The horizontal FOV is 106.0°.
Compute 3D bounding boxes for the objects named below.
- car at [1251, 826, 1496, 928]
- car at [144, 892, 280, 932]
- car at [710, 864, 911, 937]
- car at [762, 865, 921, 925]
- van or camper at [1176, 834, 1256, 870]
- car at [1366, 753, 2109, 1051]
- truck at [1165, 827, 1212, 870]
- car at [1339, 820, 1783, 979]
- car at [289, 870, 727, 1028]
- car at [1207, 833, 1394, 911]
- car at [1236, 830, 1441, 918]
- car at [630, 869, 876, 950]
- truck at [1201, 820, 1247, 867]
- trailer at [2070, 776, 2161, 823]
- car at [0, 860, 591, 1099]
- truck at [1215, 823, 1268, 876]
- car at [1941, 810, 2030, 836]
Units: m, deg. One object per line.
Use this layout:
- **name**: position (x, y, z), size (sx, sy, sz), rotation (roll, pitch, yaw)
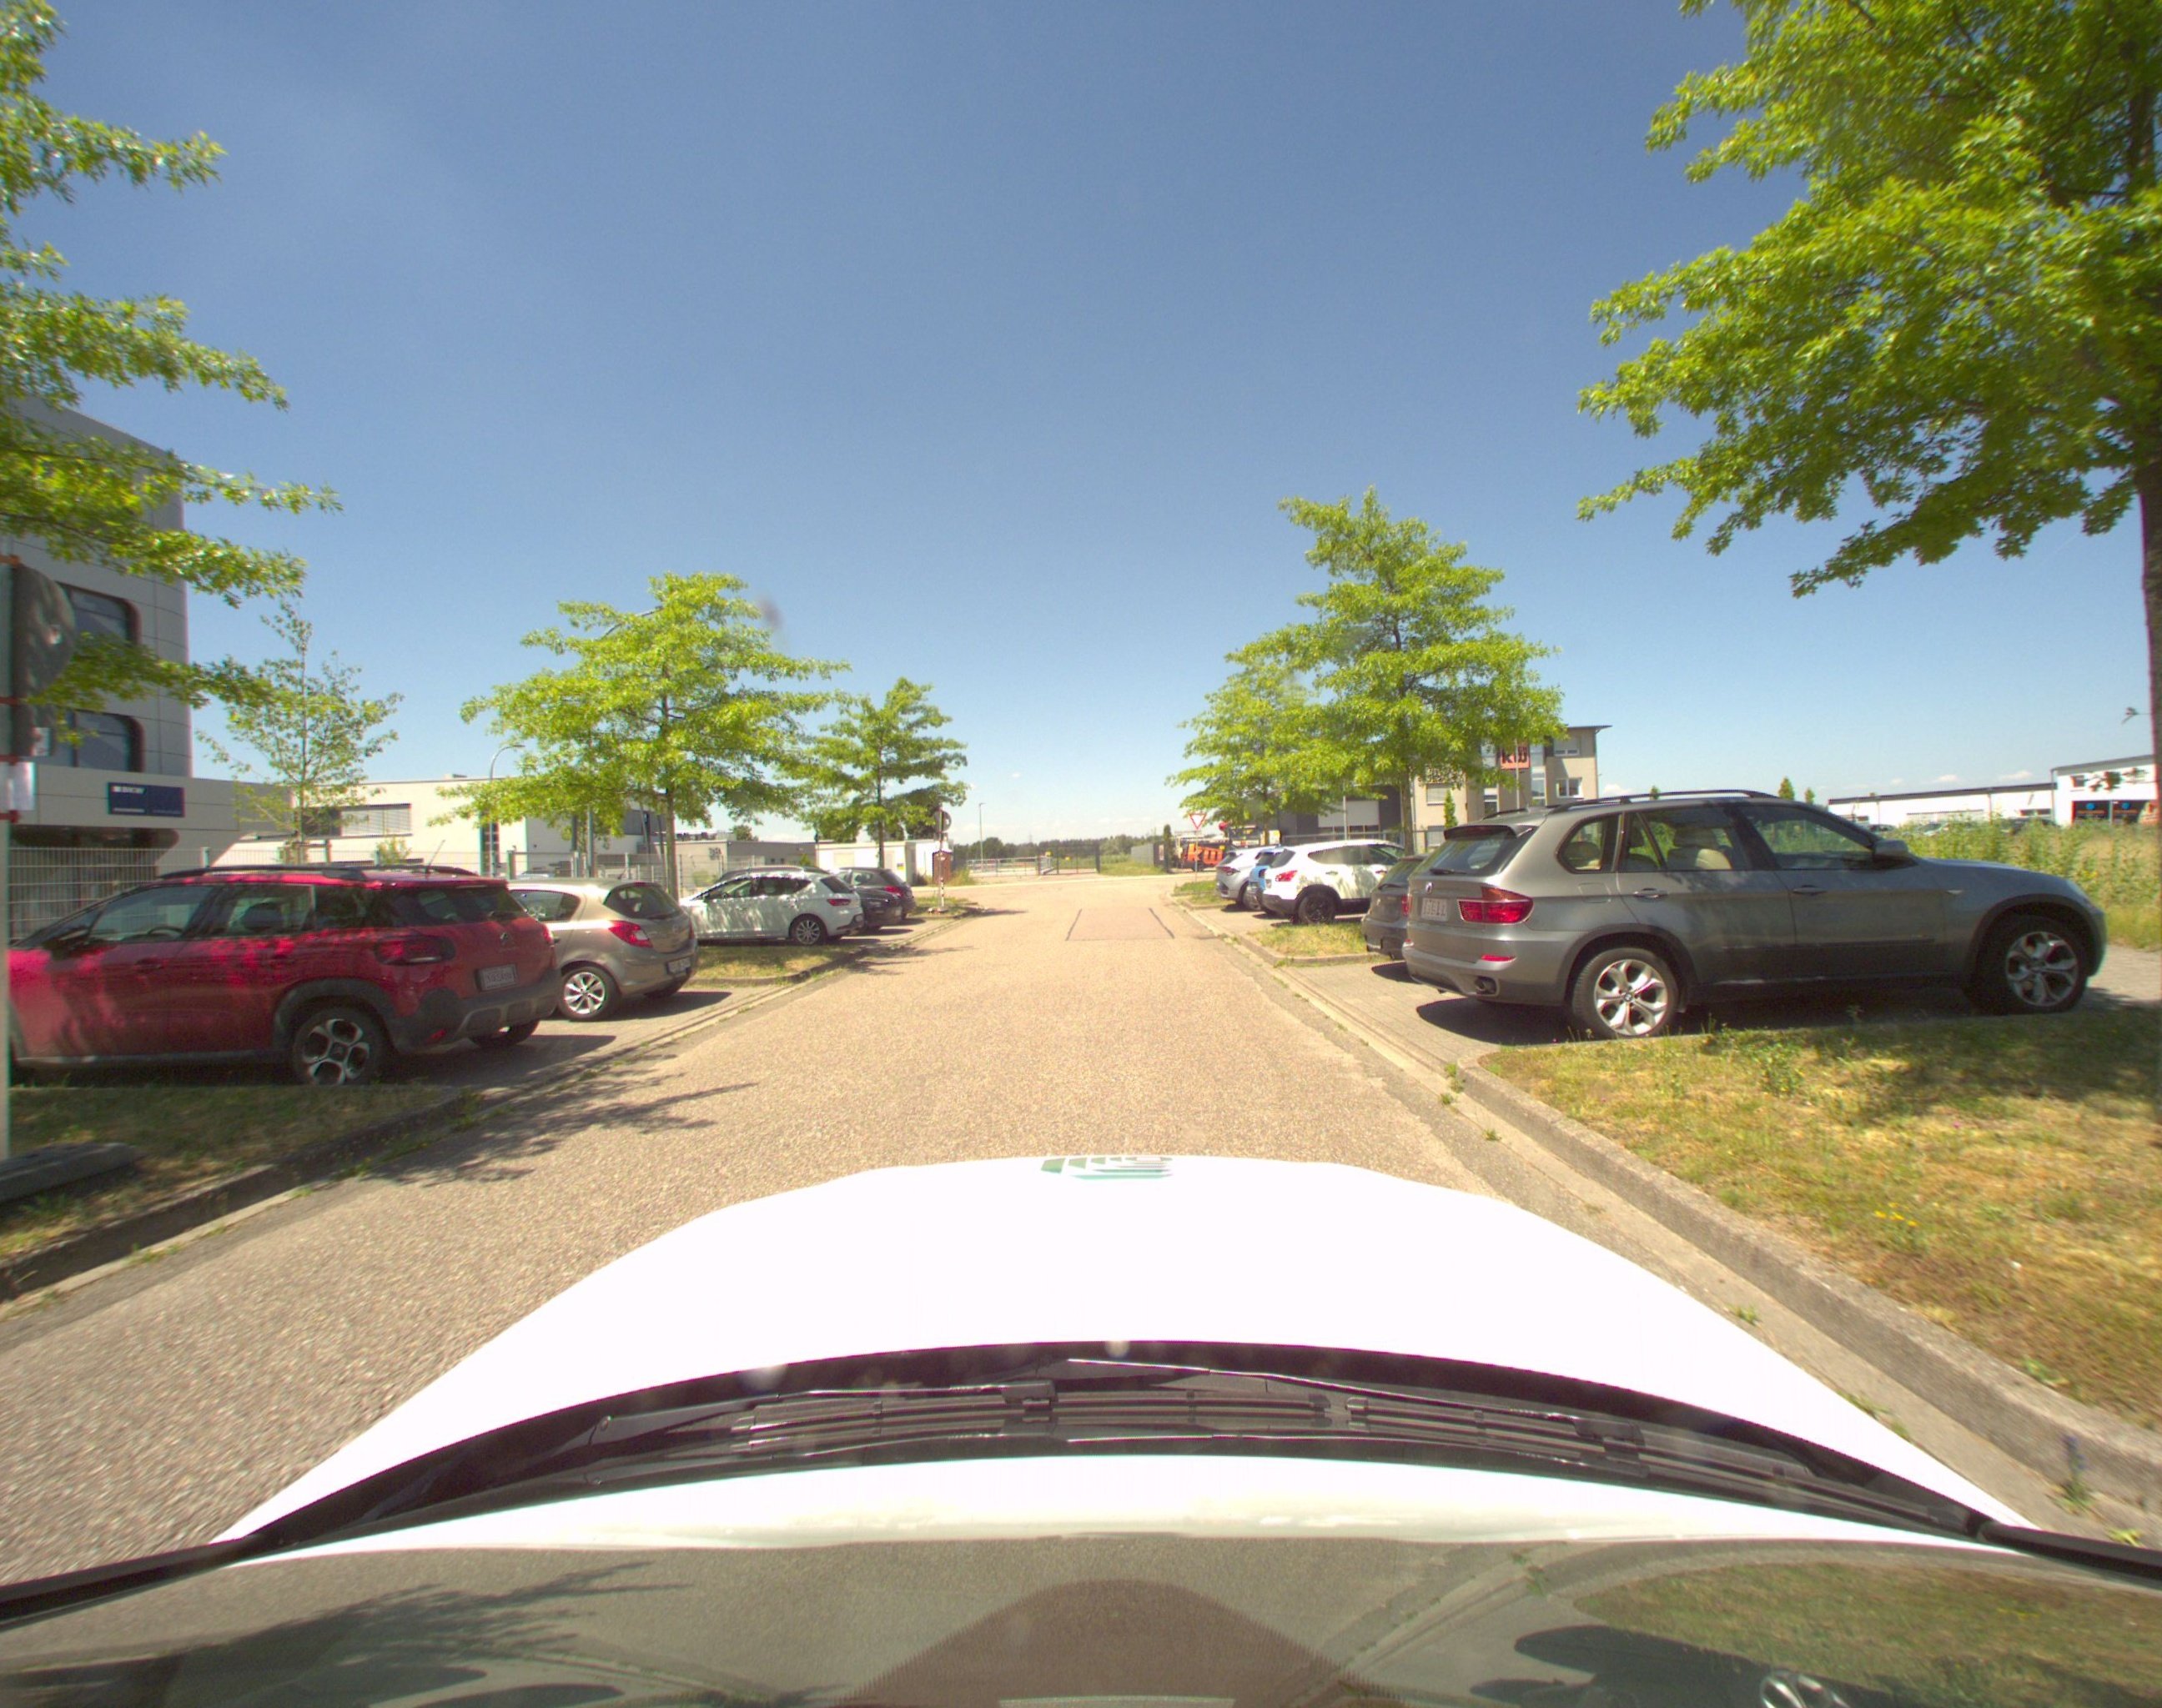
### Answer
- **car**: position (5.557, 0.435, 15.903), size (4.052, 1.607, 1.902), rotation (-4, -1, 2)
- **car**: position (-39.897, 2.642, 37.483), size (3.977, 1.540, 1.998), rotation (-3, -2, -2)
- **car**: position (-6.003, 1.005, 18.394), size (3.916, 1.520, 1.784), rotation (-1, 0, -1)
- **car**: position (-6.122, 1.031, 21.118), size (3.615, 1.436, 1.725), rotation (-1, 0, -1)
- **van or camper**: position (8.930, -0.146, 54.210), size (4.919, 2.163, 2.001), rotation (-3, 1, 1)
- **car**: position (4.938, 0.324, 6.674), size (4.435, 1.768, 1.992), rotation (-4, 0, -1)
- **truck**: position (8.257, -0.429, 63.456), size (2.717, 3.061, 6.937), rotation (-3, 0, 1)
- **car**: position (5.225, 0.483, 9.330), size (3.908, 1.409, 1.910), rotation (-3, -1, 1)
- **car**: position (-6.222, 0.983, 9.207), size (3.647, 1.508, 1.730), rotation (-1, 0, -2)
- **car**: position (5.528, 0.441, 20.917), size (4.263, 1.644, 1.852), rotation (-4, 0, 1)
- **car**: position (5.695, 0.434, 18.367), size (3.973, 1.644, 1.838), rotation (-4, 0, 1)
- **car**: position (-6.333, 1.038, 16.102), size (4.065, 1.424, 1.872), rotation (-1, 0, -2)
- **truck**: position (12.934, -0.925, 74.110), size (2.911, 3.929, 6.937), rotation (-3, 0, 1)
- **trailer**: position (64.797, -3.384, 50.585), size (3.974, 2.600, 2.233), rotation (-3, 0, 0)
- **car**: position (-6.393, 0.895, 6.599), size (3.723, 1.621, 1.818), rotation (-1, 0, 2)
- **truck**: position (12.970, -0.369, 66.262), size (2.911, 3.929, 6.937), rotation (-3, 0, 1)
- **car**: position (56.263, -1.927, 50.694), size (3.616, 1.384, 1.679), rotation (-3, 1, 2)
